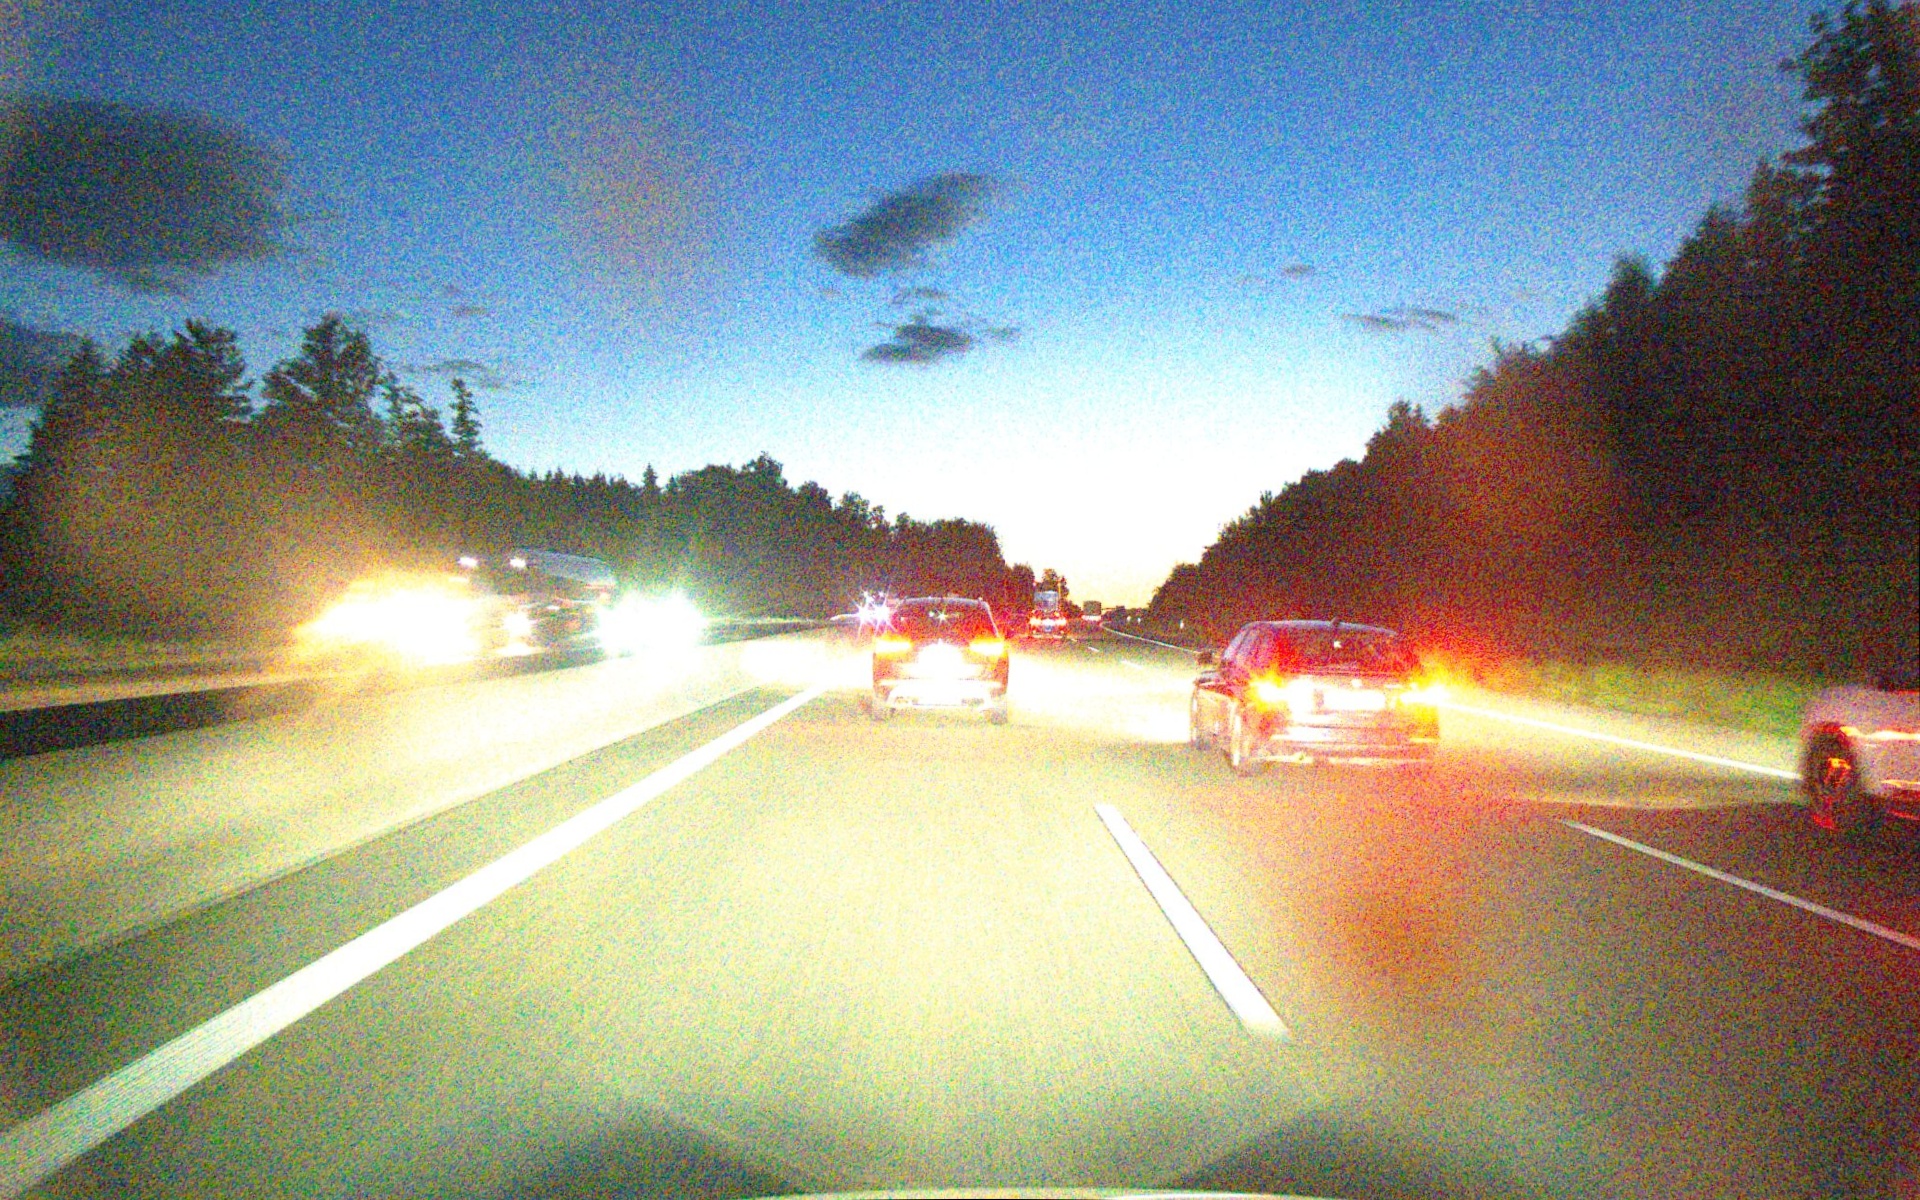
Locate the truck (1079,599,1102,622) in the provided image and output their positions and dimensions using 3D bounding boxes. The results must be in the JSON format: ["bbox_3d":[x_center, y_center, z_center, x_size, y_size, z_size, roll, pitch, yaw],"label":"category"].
[{"bbox_3d":[18.489,1.487,234.725,2.494,3.069,9.052,1,-1,0],"label":"truck"}]

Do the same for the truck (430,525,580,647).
[{"bbox_3d":[-16.275,-0.451,59.722,3.366,4.077,6.775,1,-1,1],"label":"truck"}]

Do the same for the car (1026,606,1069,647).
[{"bbox_3d":[4.139,1.289,78.580,1.872,1.760,4.001,3,-2,2],"label":"car"}]

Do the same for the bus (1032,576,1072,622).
[{"bbox_3d":[9.197,-0.003,163.776,2.596,4.064,14.711,-2,-2,8],"label":"bus"}]

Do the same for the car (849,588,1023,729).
[{"bbox_3d":[-0.346,0.699,22.156,2.063,1.646,4.203,2,0,-2],"label":"car"}]

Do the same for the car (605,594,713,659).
[{"bbox_3d":[-8.179,0.699,45.342,2.023,1.651,4.696,1,0,1],"label":"car"}]

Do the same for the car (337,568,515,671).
[{"bbox_3d":[-12.574,0.436,39.541,2.010,2.236,6.965,1,0,0],"label":"car"}]

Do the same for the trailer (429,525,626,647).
[{"bbox_3d":[-16.206,-0.412,63.697,3.366,4.077,14.761,1,-1,1],"label":"trailer"}]

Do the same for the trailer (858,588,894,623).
[{"bbox_3d":[-9.219,0.599,182.491,2.993,3.754,7.232,1,-1,4],"label":"trailer"}]

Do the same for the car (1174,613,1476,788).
[{"bbox_3d":[3.392,0.862,16.419,1.798,1.425,5.068,1,0,-1],"label":"car"}]

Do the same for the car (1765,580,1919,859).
[{"bbox_3d":[7.004,0.763,9.831,1.952,1.748,5.167,1,0,0],"label":"car"}]

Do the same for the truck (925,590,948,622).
[{"bbox_3d":[-3.441,0.882,243.828,2.792,4.511,6.399,1,-1,4],"label":"truck"}]
